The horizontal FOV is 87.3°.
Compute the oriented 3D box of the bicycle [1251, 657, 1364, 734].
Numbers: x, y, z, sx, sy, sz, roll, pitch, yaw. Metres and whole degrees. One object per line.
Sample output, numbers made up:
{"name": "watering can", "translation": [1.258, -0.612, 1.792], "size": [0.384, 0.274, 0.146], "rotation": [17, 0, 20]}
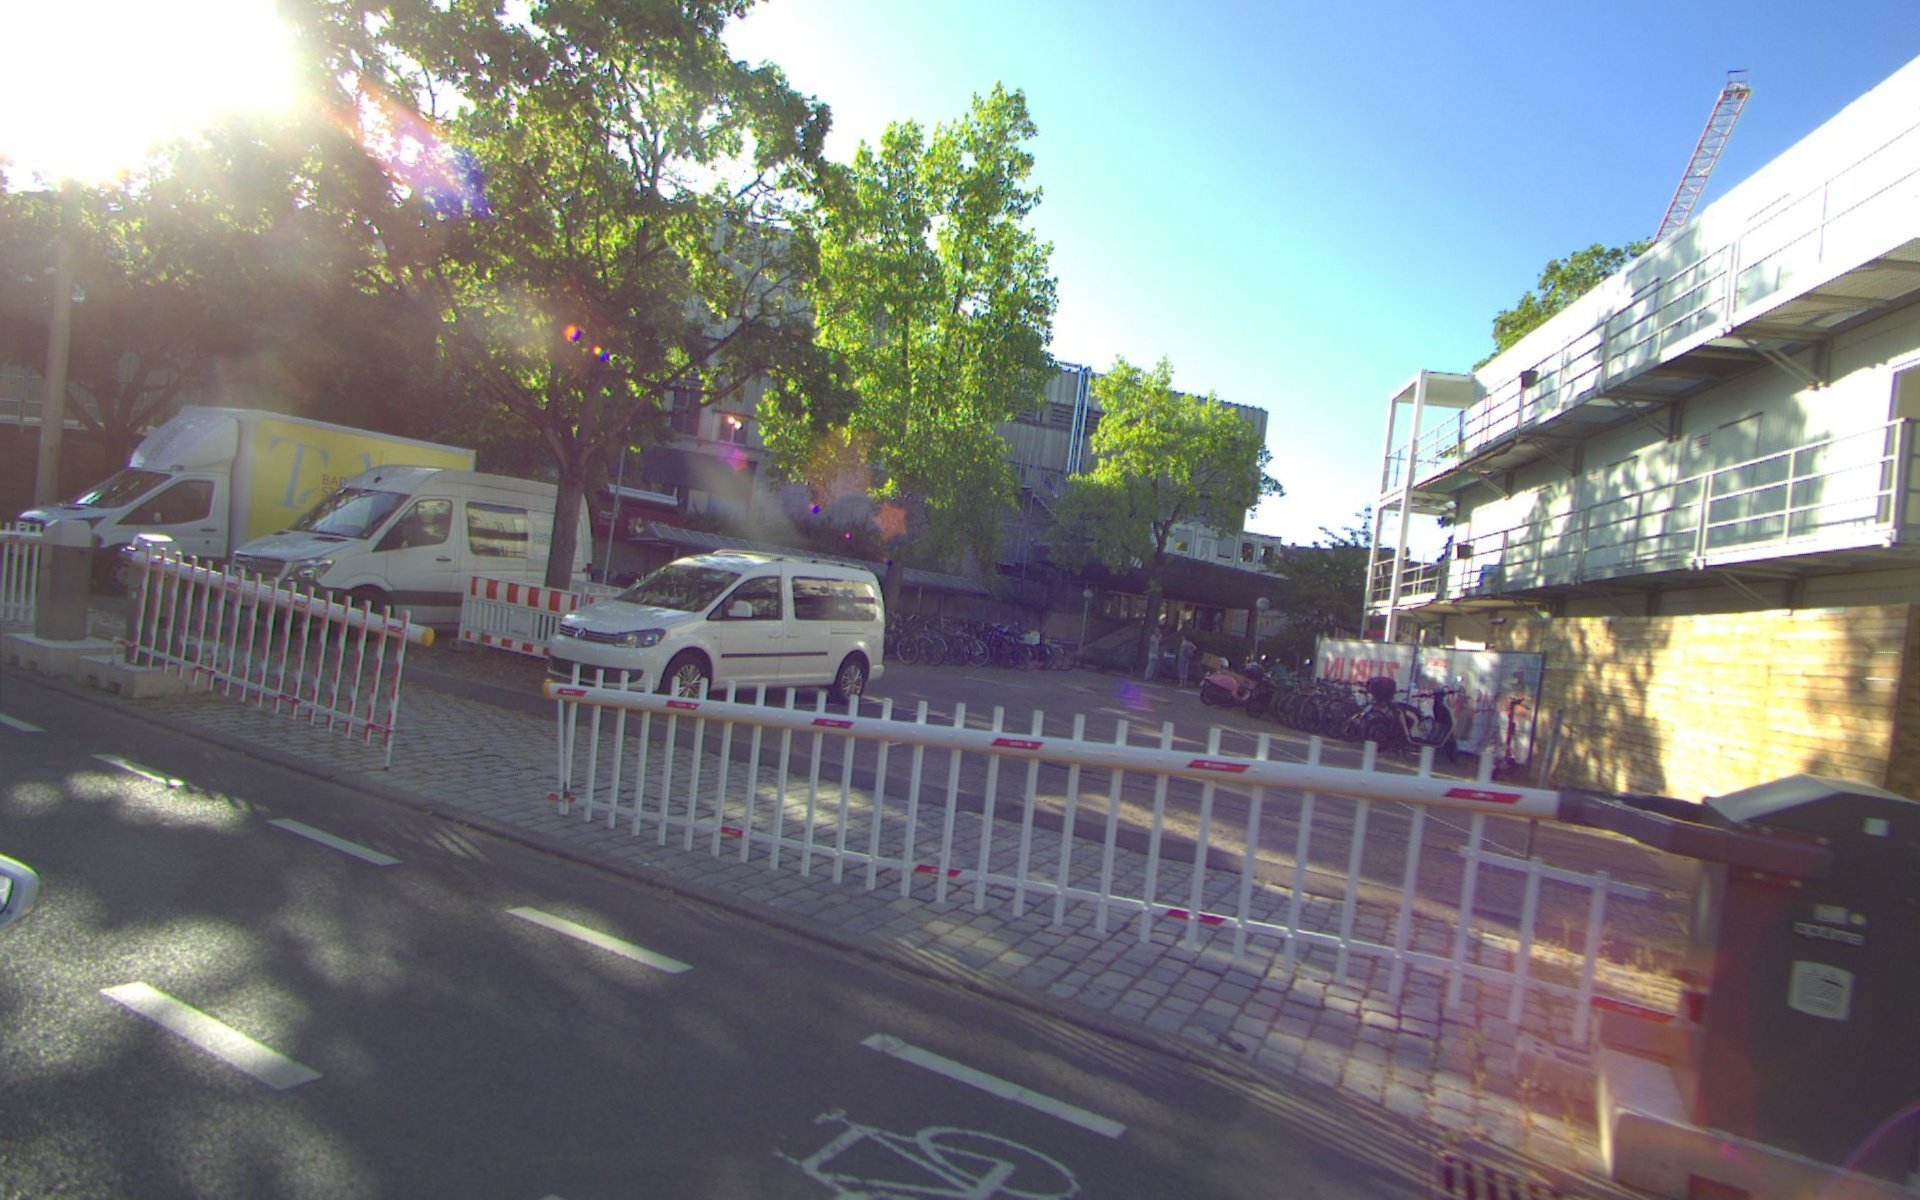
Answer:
{"name": "bicycle", "translation": [6.974, 1.908, 20.190], "size": [2.016, 1.273, 0.542], "rotation": [7, 1, -10]}

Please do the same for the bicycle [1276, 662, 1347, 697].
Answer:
{"name": "bicycle", "translation": [15.593, 3.501, 44.638], "size": [2.790, 1.161, 0.820], "rotation": [7, 0, 30]}

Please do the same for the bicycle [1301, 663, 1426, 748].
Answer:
{"name": "bicycle", "translation": [7.237, 1.896, 18.057], "size": [2.016, 1.273, 0.470], "rotation": [7, 1, -10]}

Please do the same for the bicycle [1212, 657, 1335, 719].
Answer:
{"name": "bicycle", "translation": [7.962, 2.217, 25.646], "size": [2.795, 1.161, 0.819], "rotation": [7, 0, 37]}

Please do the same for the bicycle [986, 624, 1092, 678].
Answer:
{"name": "bicycle", "translation": [2.275, 1.474, 29.365], "size": [3.042, 1.161, 0.819], "rotation": [7, 0, 37]}

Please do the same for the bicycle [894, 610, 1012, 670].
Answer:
{"name": "bicycle", "translation": [-0.208, 1.012, 25.799], "size": [3.042, 1.161, 0.819], "rotation": [7, 0, 37]}

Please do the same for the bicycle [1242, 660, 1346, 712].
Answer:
{"name": "bicycle", "translation": [10.094, 2.579, 30.483], "size": [2.795, 1.161, 0.819], "rotation": [7, 0, 37]}

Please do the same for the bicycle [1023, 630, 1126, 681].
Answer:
{"name": "bicycle", "translation": [3.511, 1.707, 31.088], "size": [3.042, 1.161, 0.819], "rotation": [7, 0, 37]}

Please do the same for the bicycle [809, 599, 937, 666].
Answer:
{"name": "bicycle", "translation": [-2.040, 0.723, 23.062], "size": [3.042, 1.161, 0.819], "rotation": [7, 0, 37]}

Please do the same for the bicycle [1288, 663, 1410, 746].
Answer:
{"name": "bicycle", "translation": [7.172, 1.923, 18.547], "size": [2.016, 1.273, 0.470], "rotation": [7, 1, -10]}

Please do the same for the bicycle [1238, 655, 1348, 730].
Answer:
{"name": "bicycle", "translation": [6.872, 1.907, 20.783], "size": [2.016, 1.273, 0.542], "rotation": [7, 1, -10]}

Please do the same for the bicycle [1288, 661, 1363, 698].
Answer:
{"name": "bicycle", "translation": [15.417, 3.358, 42.503], "size": [2.790, 1.161, 0.820], "rotation": [7, 0, 30]}

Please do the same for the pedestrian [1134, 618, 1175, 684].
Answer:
{"name": "pedestrian", "translation": [6.439, 1.694, 33.301], "size": [0.791, 2.038, 0.935], "rotation": [7, 1, 38]}

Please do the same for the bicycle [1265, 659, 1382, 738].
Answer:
{"name": "bicycle", "translation": [7.074, 1.909, 19.606], "size": [2.016, 1.273, 0.542], "rotation": [7, 1, -10]}

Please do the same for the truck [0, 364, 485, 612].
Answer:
{"name": "truck", "translation": [-12.793, -1.732, 18.527], "size": [2.348, 3.390, 7.109], "rotation": [7, 1, 27]}

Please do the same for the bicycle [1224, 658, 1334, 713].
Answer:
{"name": "bicycle", "translation": [9.108, 2.435, 28.819], "size": [2.795, 1.161, 0.819], "rotation": [7, 0, 37]}

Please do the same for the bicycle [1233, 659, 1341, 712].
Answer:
{"name": "bicycle", "translation": [9.592, 2.501, 29.596], "size": [2.795, 1.161, 0.819], "rotation": [7, 0, 37]}

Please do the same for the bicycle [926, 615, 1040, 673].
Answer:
{"name": "bicycle", "translation": [0.588, 1.158, 27.024], "size": [3.042, 1.161, 0.819], "rotation": [7, 0, 37]}

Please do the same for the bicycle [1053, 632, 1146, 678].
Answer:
{"name": "bicycle", "translation": [4.755, 1.877, 34.444], "size": [3.042, 1.161, 0.819], "rotation": [7, 0, 37]}

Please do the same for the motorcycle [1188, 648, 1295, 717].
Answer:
{"name": "motorcycle", "translation": [6.312, 1.847, 22.570], "size": [2.175, 1.273, 0.542], "rotation": [7, 1, -10]}

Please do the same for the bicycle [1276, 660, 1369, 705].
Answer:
{"name": "bicycle", "translation": [12.352, 2.801, 34.340], "size": [2.795, 1.161, 0.819], "rotation": [7, 0, 37]}

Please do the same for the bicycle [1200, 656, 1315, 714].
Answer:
{"name": "bicycle", "translation": [8.026, 2.274, 27.238], "size": [2.795, 1.161, 0.819], "rotation": [7, 0, 37]}

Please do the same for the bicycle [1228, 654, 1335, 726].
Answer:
{"name": "bicycle", "translation": [6.832, 1.916, 21.378], "size": [2.016, 1.273, 0.542], "rotation": [7, 1, -10]}

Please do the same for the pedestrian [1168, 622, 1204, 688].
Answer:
{"name": "pedestrian", "translation": [7.400, 1.799, 33.003], "size": [0.788, 2.038, 1.031], "rotation": [7, 0, 4]}

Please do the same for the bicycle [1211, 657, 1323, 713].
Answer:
{"name": "bicycle", "translation": [8.556, 2.361, 28.133], "size": [2.795, 1.161, 0.819], "rotation": [7, 0, 37]}

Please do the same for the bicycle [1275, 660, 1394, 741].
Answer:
{"name": "bicycle", "translation": [7.089, 1.897, 19.051], "size": [2.016, 1.273, 0.470], "rotation": [7, 1, -10]}

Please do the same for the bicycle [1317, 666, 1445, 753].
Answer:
{"name": "bicycle", "translation": [7.355, 1.914, 17.583], "size": [2.016, 1.273, 0.470], "rotation": [7, 1, -10]}

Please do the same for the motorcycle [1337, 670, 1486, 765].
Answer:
{"name": "motorcycle", "translation": [7.387, 1.927, 16.481], "size": [2.175, 1.273, 0.542], "rotation": [7, 1, -10]}

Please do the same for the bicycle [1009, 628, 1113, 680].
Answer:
{"name": "bicycle", "translation": [3.019, 1.612, 30.297], "size": [3.042, 1.161, 0.819], "rotation": [7, 0, 37]}

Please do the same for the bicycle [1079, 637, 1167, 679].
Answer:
{"name": "bicycle", "translation": [5.989, 2.132, 37.114], "size": [3.042, 1.161, 0.819], "rotation": [7, 0, 37]}

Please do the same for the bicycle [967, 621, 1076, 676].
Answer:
{"name": "bicycle", "translation": [1.713, 1.369, 28.575], "size": [3.042, 1.161, 0.819], "rotation": [7, 0, 37]}

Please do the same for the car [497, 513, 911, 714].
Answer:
{"name": "car", "translation": [-2.927, 0.220, 12.732], "size": [1.978, 1.917, 4.933], "rotation": [8, 1, 32]}

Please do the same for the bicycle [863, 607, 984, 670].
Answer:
{"name": "bicycle", "translation": [-0.933, 0.938, 24.884], "size": [3.042, 1.161, 0.819], "rotation": [7, 0, 37]}

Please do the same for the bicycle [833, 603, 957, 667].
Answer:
{"name": "bicycle", "translation": [-1.573, 0.816, 23.937], "size": [3.042, 1.161, 0.819], "rotation": [7, 0, 37]}

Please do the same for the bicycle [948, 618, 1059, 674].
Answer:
{"name": "bicycle", "translation": [1.167, 1.268, 27.874], "size": [3.042, 1.161, 0.819], "rotation": [7, 0, 37]}

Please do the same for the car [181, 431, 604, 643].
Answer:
{"name": "car", "translation": [-8.265, -0.801, 15.382], "size": [1.964, 2.564, 5.371], "rotation": [7, 2, 24]}

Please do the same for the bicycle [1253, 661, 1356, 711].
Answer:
{"name": "bicycle", "translation": [10.652, 2.648, 31.195], "size": [2.795, 1.161, 0.819], "rotation": [7, 0, 37]}

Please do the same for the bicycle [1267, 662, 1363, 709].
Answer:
{"name": "bicycle", "translation": [11.806, 2.825, 33.484], "size": [2.795, 1.161, 0.819], "rotation": [7, 0, 37]}

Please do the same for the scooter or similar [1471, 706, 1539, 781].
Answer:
{"name": "scooter or similar", "translation": [8.239, 2.155, 15.181], "size": [1.479, 1.032, 0.380], "rotation": [7, 0, -45]}
